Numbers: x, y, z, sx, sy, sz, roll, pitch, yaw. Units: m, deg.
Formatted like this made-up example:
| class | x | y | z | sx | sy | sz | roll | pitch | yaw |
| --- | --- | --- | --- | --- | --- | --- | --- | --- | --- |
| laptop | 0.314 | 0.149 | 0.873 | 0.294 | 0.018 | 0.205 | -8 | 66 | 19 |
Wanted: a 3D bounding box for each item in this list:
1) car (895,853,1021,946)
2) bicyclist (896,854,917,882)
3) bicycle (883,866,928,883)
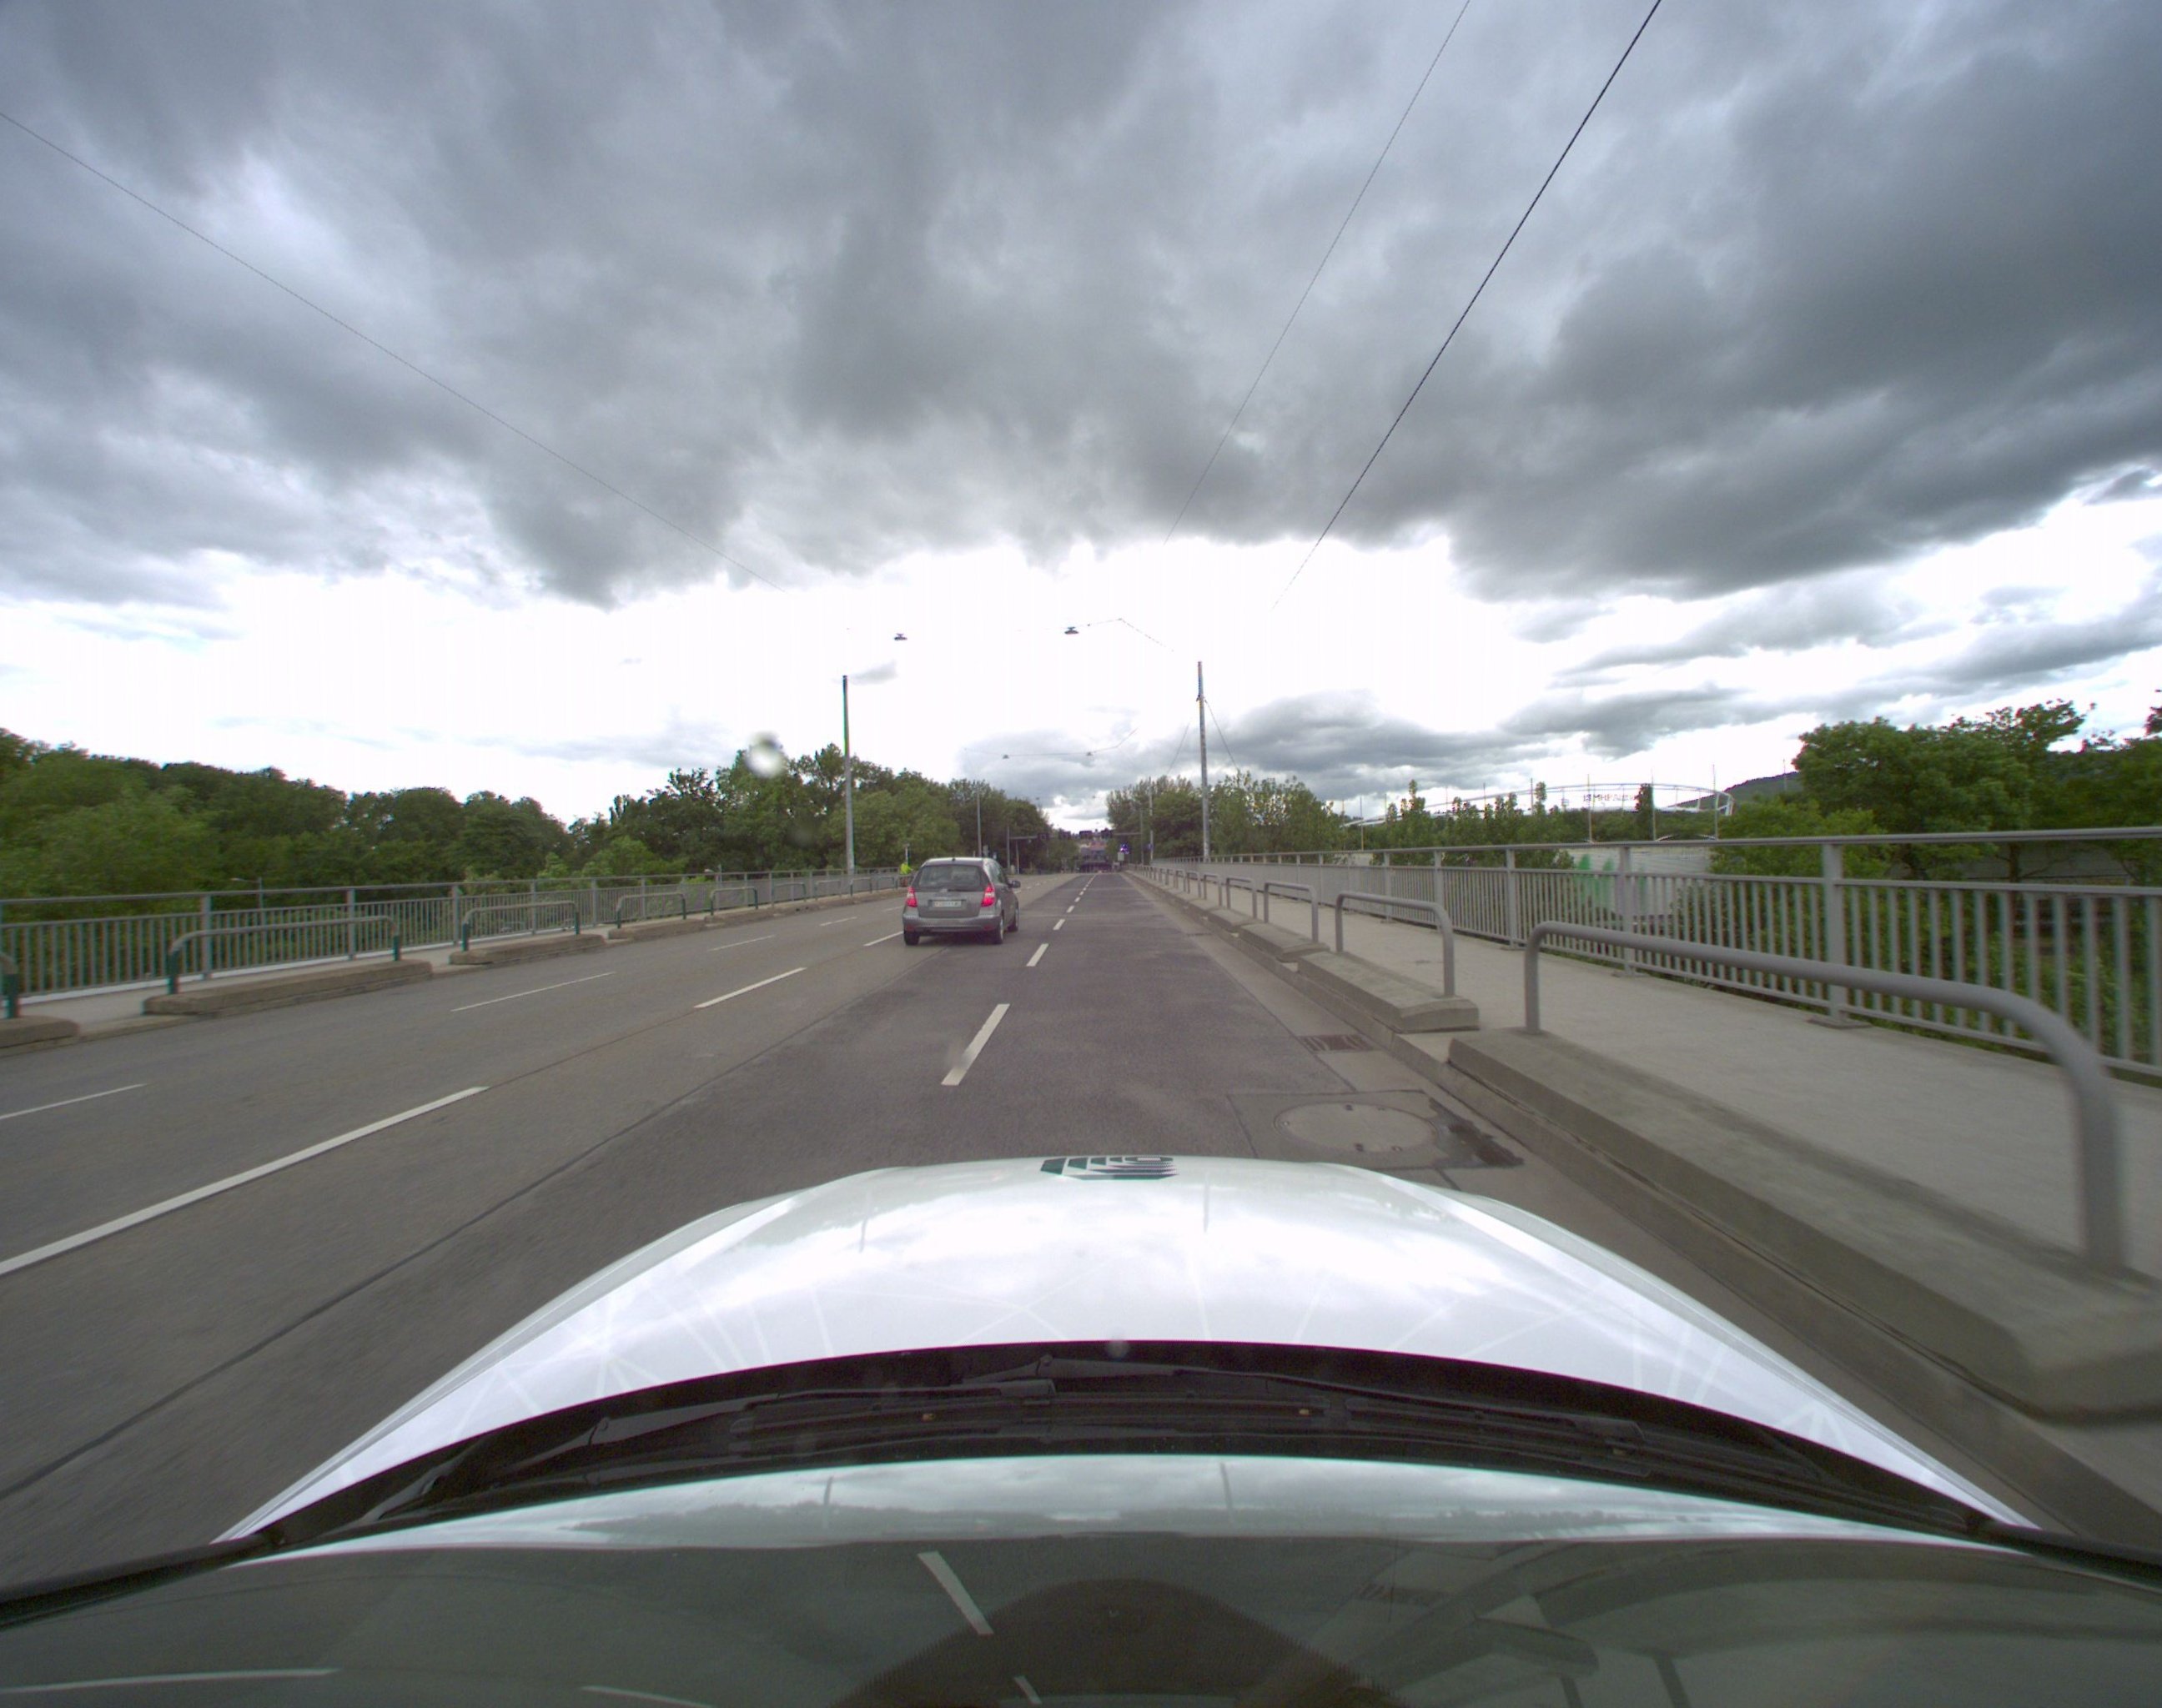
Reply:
| class | x | y | z | sx | sy | sz | roll | pitch | yaw |
| --- | --- | --- | --- | --- | --- | --- | --- | --- | --- |
| car | -2.253 | 0.780 | 15.874 | 1.739 | 1.550 | 3.872 | -1 | 0 | 1 |
| bicyclist | -11.543 | 0.932 | 53.878 | 1.130 | 1.764 | 0.904 | -2 | -1 | -4 |
| bicycle | -11.600 | 1.338 | 53.871 | 2.785 | 1.051 | 0.919 | -2 | -1 | -4 |
